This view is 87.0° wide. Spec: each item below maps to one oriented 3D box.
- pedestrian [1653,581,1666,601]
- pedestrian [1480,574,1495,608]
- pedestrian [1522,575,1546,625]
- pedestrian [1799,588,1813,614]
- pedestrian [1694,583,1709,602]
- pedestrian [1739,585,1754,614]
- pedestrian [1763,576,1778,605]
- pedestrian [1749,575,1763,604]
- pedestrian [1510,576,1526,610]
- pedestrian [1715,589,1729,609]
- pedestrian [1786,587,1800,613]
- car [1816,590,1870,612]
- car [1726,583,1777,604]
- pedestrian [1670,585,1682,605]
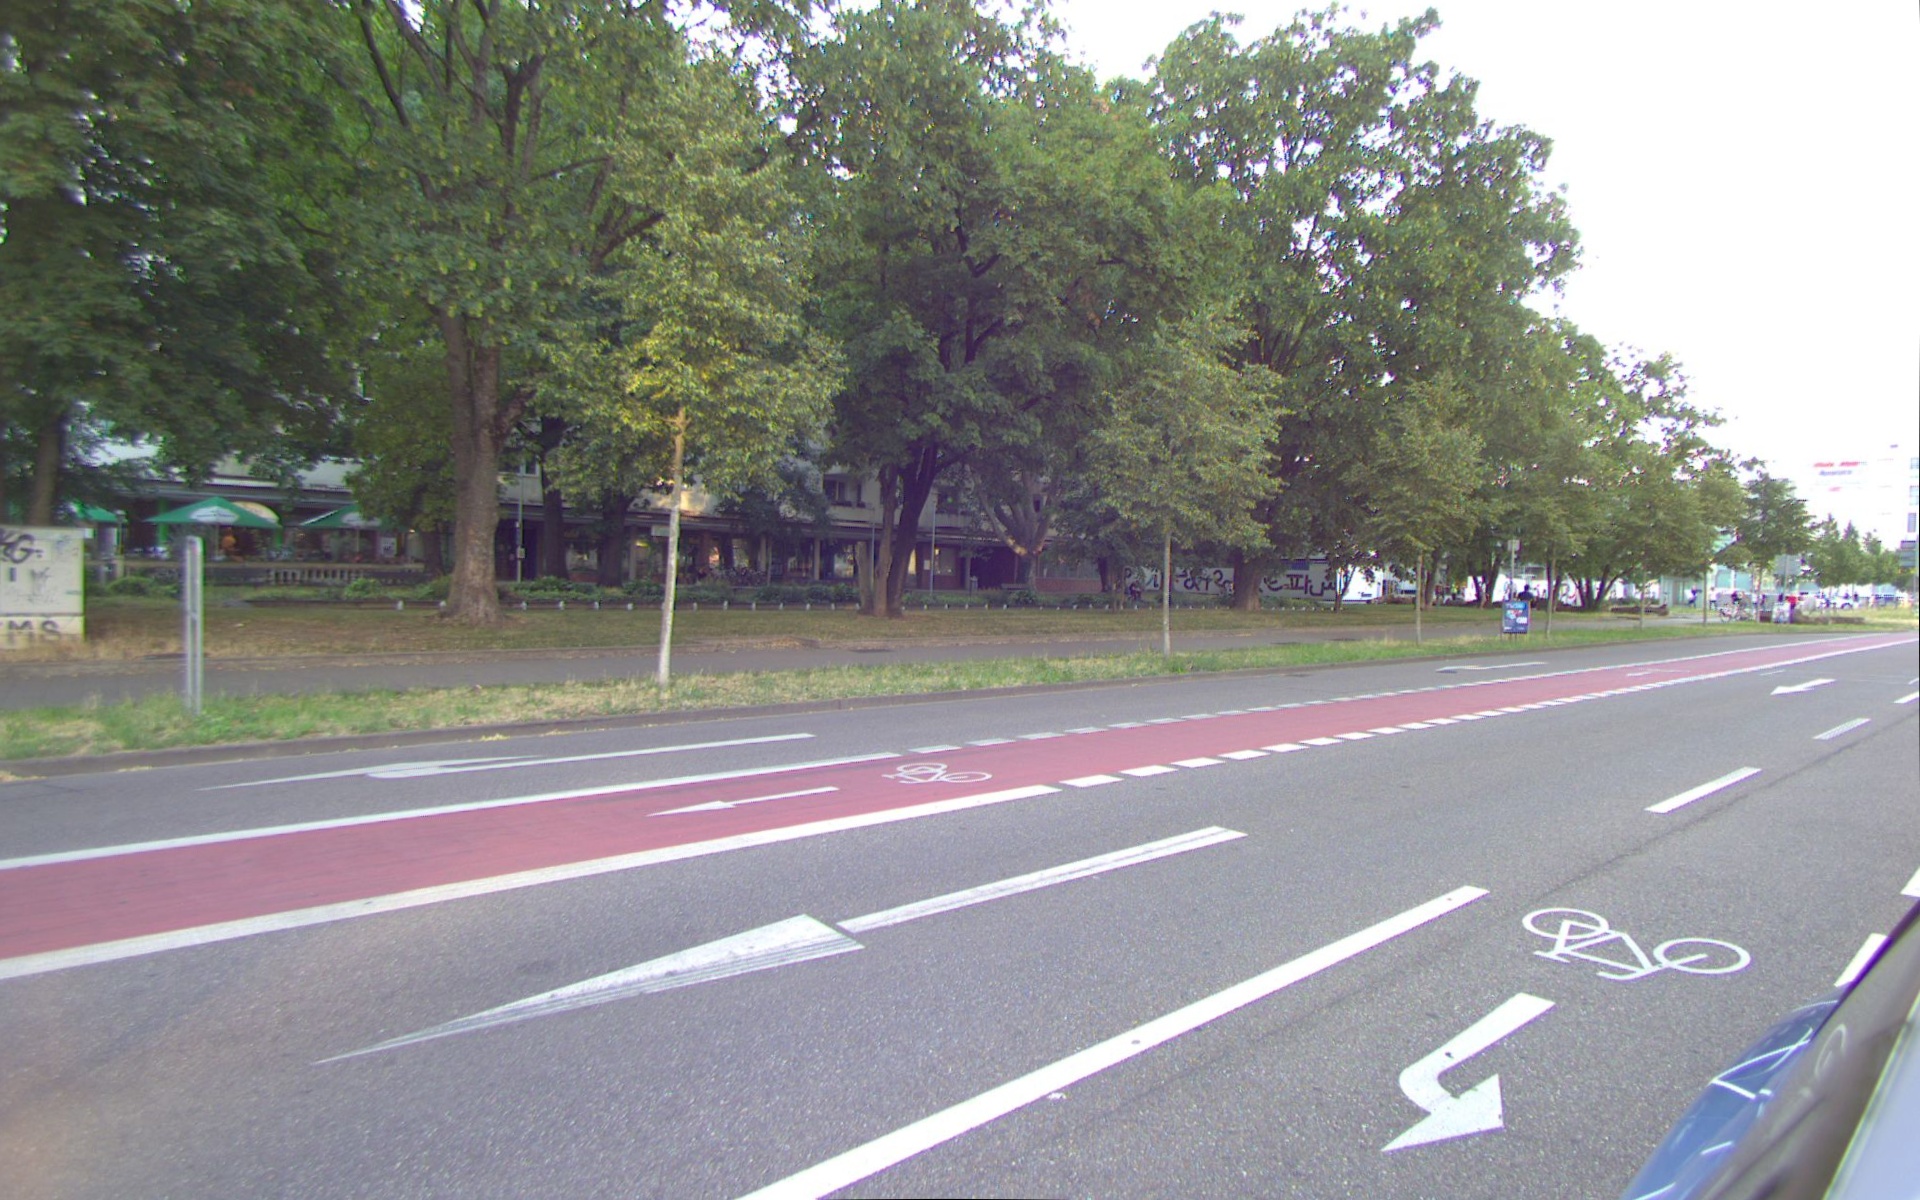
[{"bbox_3d":[49.534,-0.616,71.637,0.759,1.371,0.519,1,2,-41],"label":"pedestrian"},{"bbox_3d":[26.185,-0.447,50.249,0.359,1.621,0.500,1,1,-40],"label":"pedestrian"},{"bbox_3d":[20.590,-0.014,36.311,0.546,1.760,0.558,1,1,-41],"label":"pedestrian"},{"bbox_3d":[57.588,0.057,68.882,0.497,1.779,0.638,1,1,-40],"label":"pedestrian"},{"bbox_3d":[53.748,-0.561,73.388,0.604,1.371,0.728,1,2,-40],"label":"pedestrian"},{"bbox_3d":[46.644,-0.033,60.022,0.707,1.751,0.508,0,2,-40],"label":"pedestrian"},{"bbox_3d":[49.574,-0.565,61.908,0.707,1.751,0.508,0,2,-40],"label":"pedestrian"},{"bbox_3d":[49.134,-0.651,62.444,0.707,1.751,0.519,0,2,-40],"label":"pedestrian"},{"bbox_3d":[26.592,-0.331,48.229,0.513,1.621,0.500,1,1,-41],"label":"pedestrian"},{"bbox_3d":[54.636,-0.057,72.547,0.550,1.371,0.662,1,2,-40],"label":"pedestrian"},{"bbox_3d":[57.471,-0.020,69.838,0.497,1.779,0.638,1,1,-40],"label":"pedestrian"},{"bbox_3d":[89.572,0.097,102.706,3.982,2.038,1.972,3,2,40],"label":"car"},{"bbox_3d":[81.536,-0.681,104.239,3.985,2.038,1.970,3,2,41],"label":"car"},{"bbox_3d":[50.223,-0.364,70.995,0.759,1.371,0.519,1,2,-41],"label":"pedestrian"}]
